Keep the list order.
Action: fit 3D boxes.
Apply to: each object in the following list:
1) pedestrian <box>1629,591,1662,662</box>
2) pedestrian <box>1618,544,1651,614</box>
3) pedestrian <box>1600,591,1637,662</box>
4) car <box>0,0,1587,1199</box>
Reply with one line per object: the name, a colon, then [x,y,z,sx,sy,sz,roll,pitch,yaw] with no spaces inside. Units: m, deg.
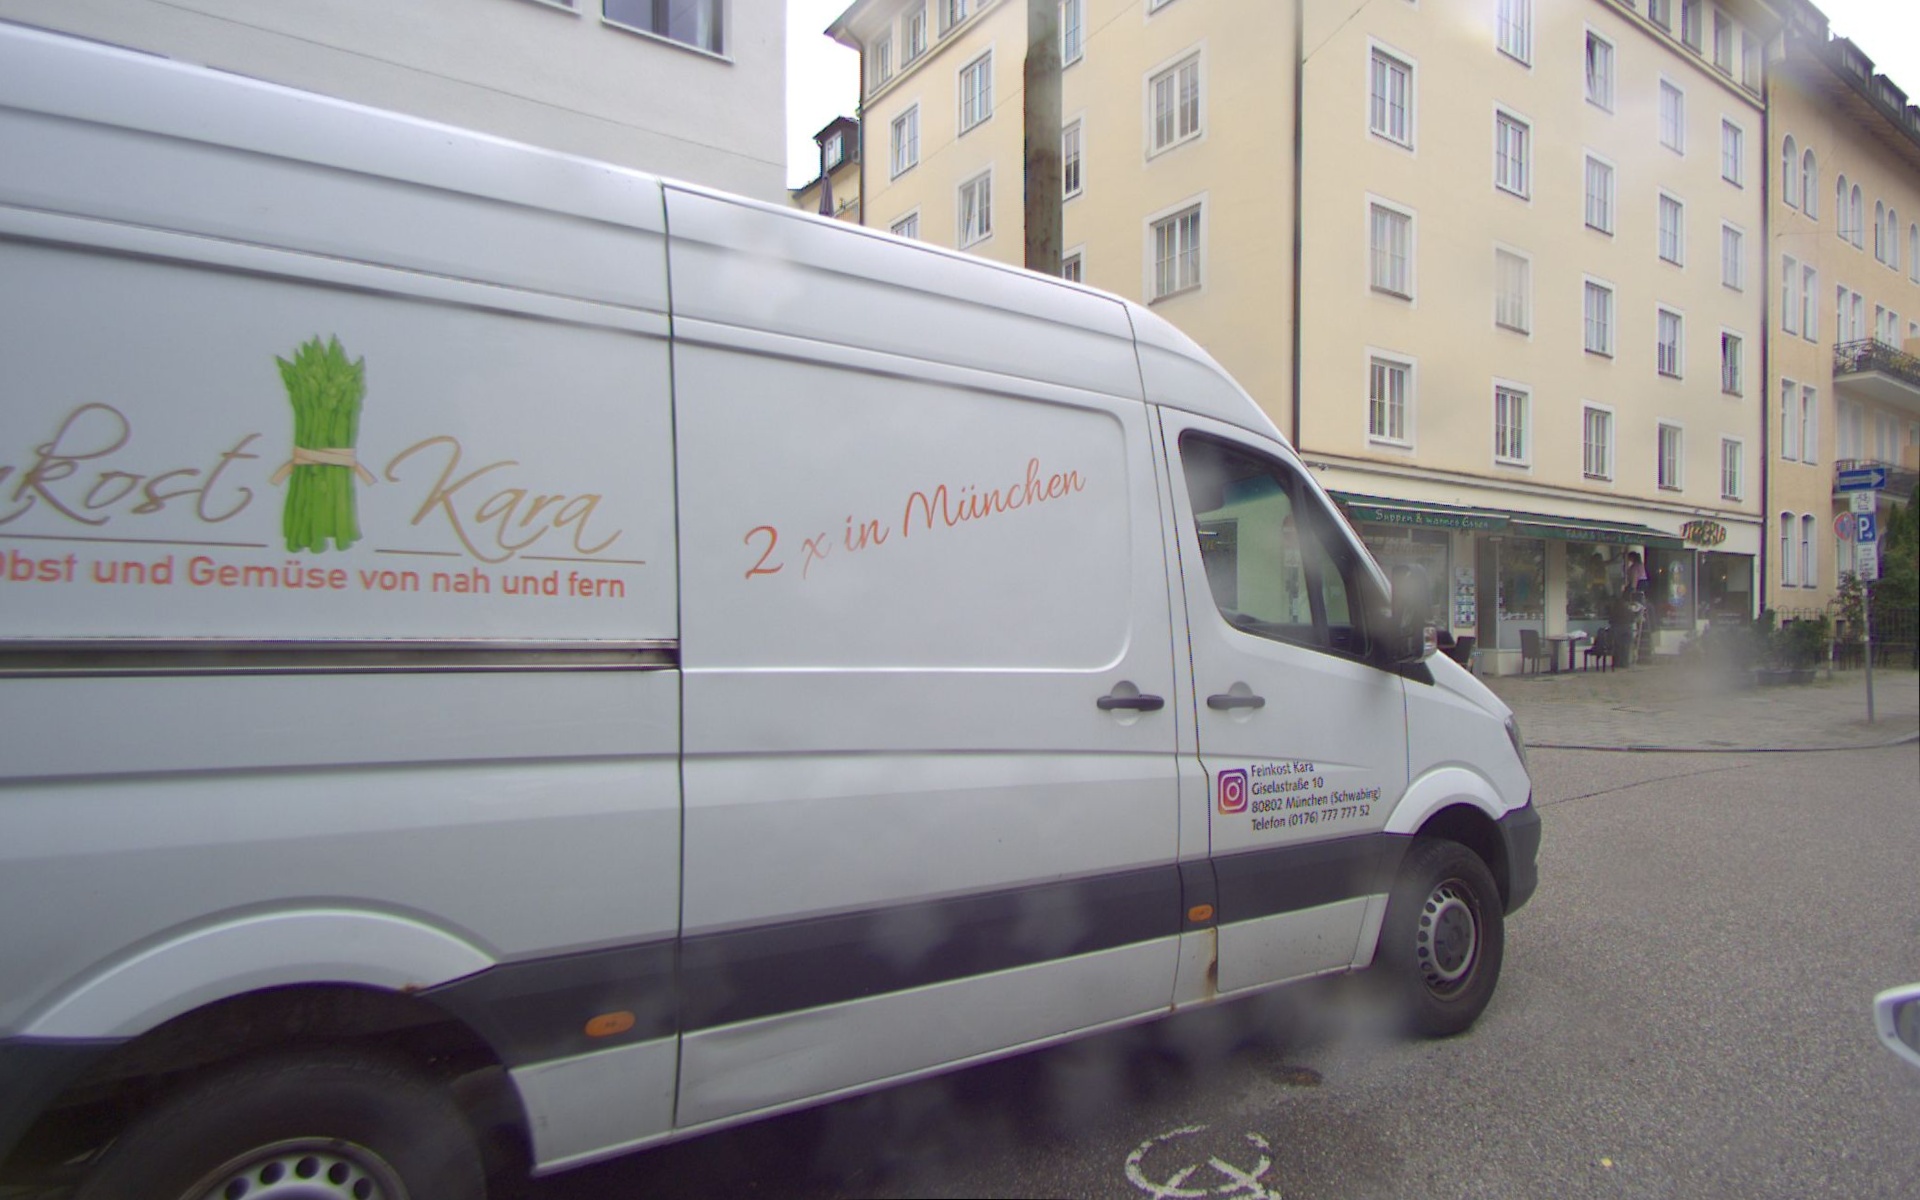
pedestrian: [16.816,0.641,24.638,0.568,1.713,0.459,1,0,-33]
pedestrian: [16.268,-0.491,24.214,0.491,1.664,0.475,1,0,-29]
pedestrian: [15.591,0.618,23.789,0.623,1.664,0.519,1,0,-33]
car: [-0.391,0.214,3.486,5.728,2.608,1.967,1,-2,-31]
